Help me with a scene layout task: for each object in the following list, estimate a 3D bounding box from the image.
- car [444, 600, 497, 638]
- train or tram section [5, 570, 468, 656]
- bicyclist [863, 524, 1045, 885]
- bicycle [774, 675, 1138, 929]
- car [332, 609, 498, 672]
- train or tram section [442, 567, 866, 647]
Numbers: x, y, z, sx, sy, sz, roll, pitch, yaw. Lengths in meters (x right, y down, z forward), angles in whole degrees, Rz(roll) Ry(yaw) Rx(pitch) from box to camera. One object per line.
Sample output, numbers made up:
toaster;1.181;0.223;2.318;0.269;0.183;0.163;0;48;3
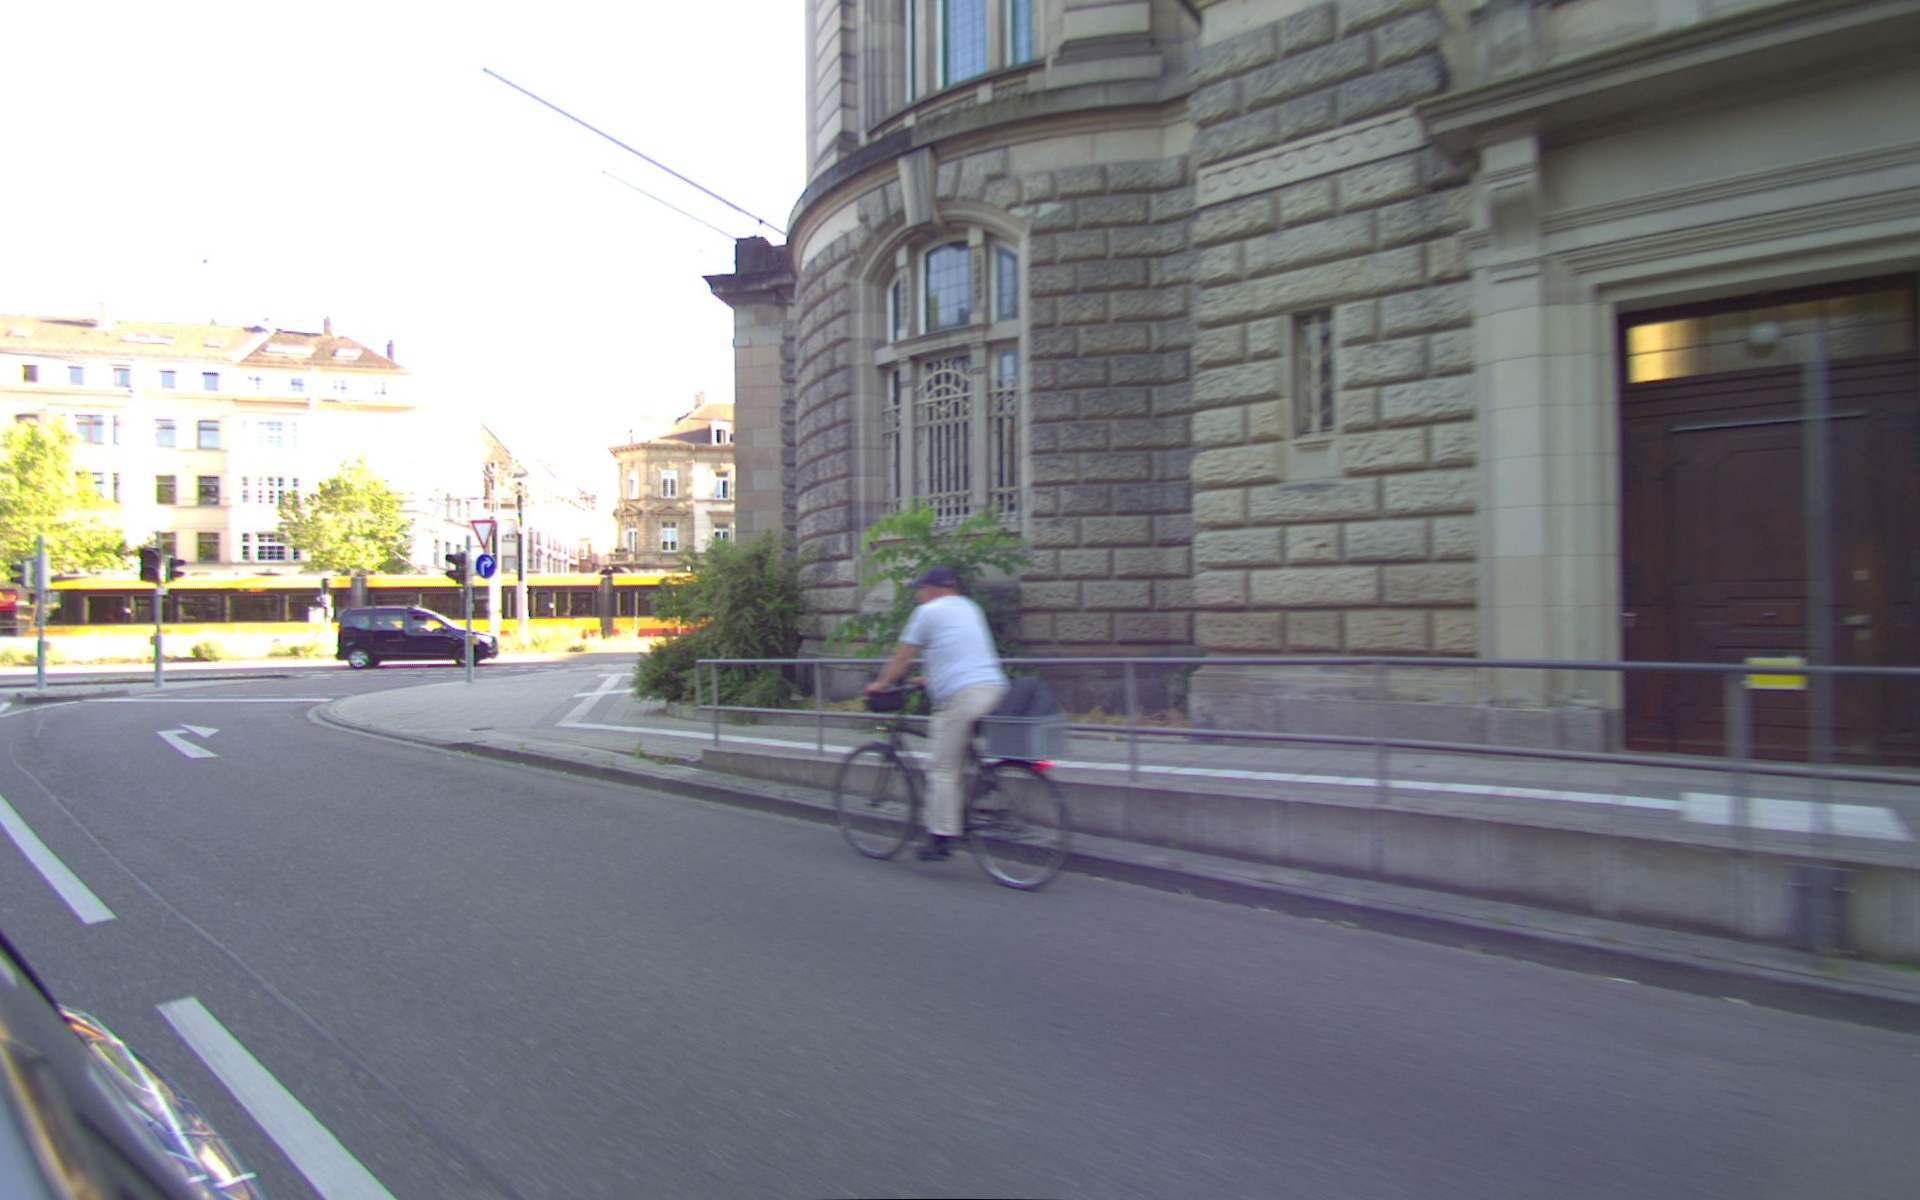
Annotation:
car;-31.230;1.248;64.756;2.427;2.284;7.315;0;-1;-21
train or tram section;-32.186;0.509;46.260;17.181;3.586;3.131;0;-1;-16
bicyclist;-0.038;0.534;5.616;0.780;1.820;0.638;-2;-2;42
bicycle;-0.110;1.008;5.669;2.152;1.078;0.655;-2;-2;42
car;-16.134;1.175;30.171;4.077;1.745;1.776;-1;-1;-17
train or tram section;-14.564;0.325;49.871;19.617;3.586;3.127;-1;-1;-8
